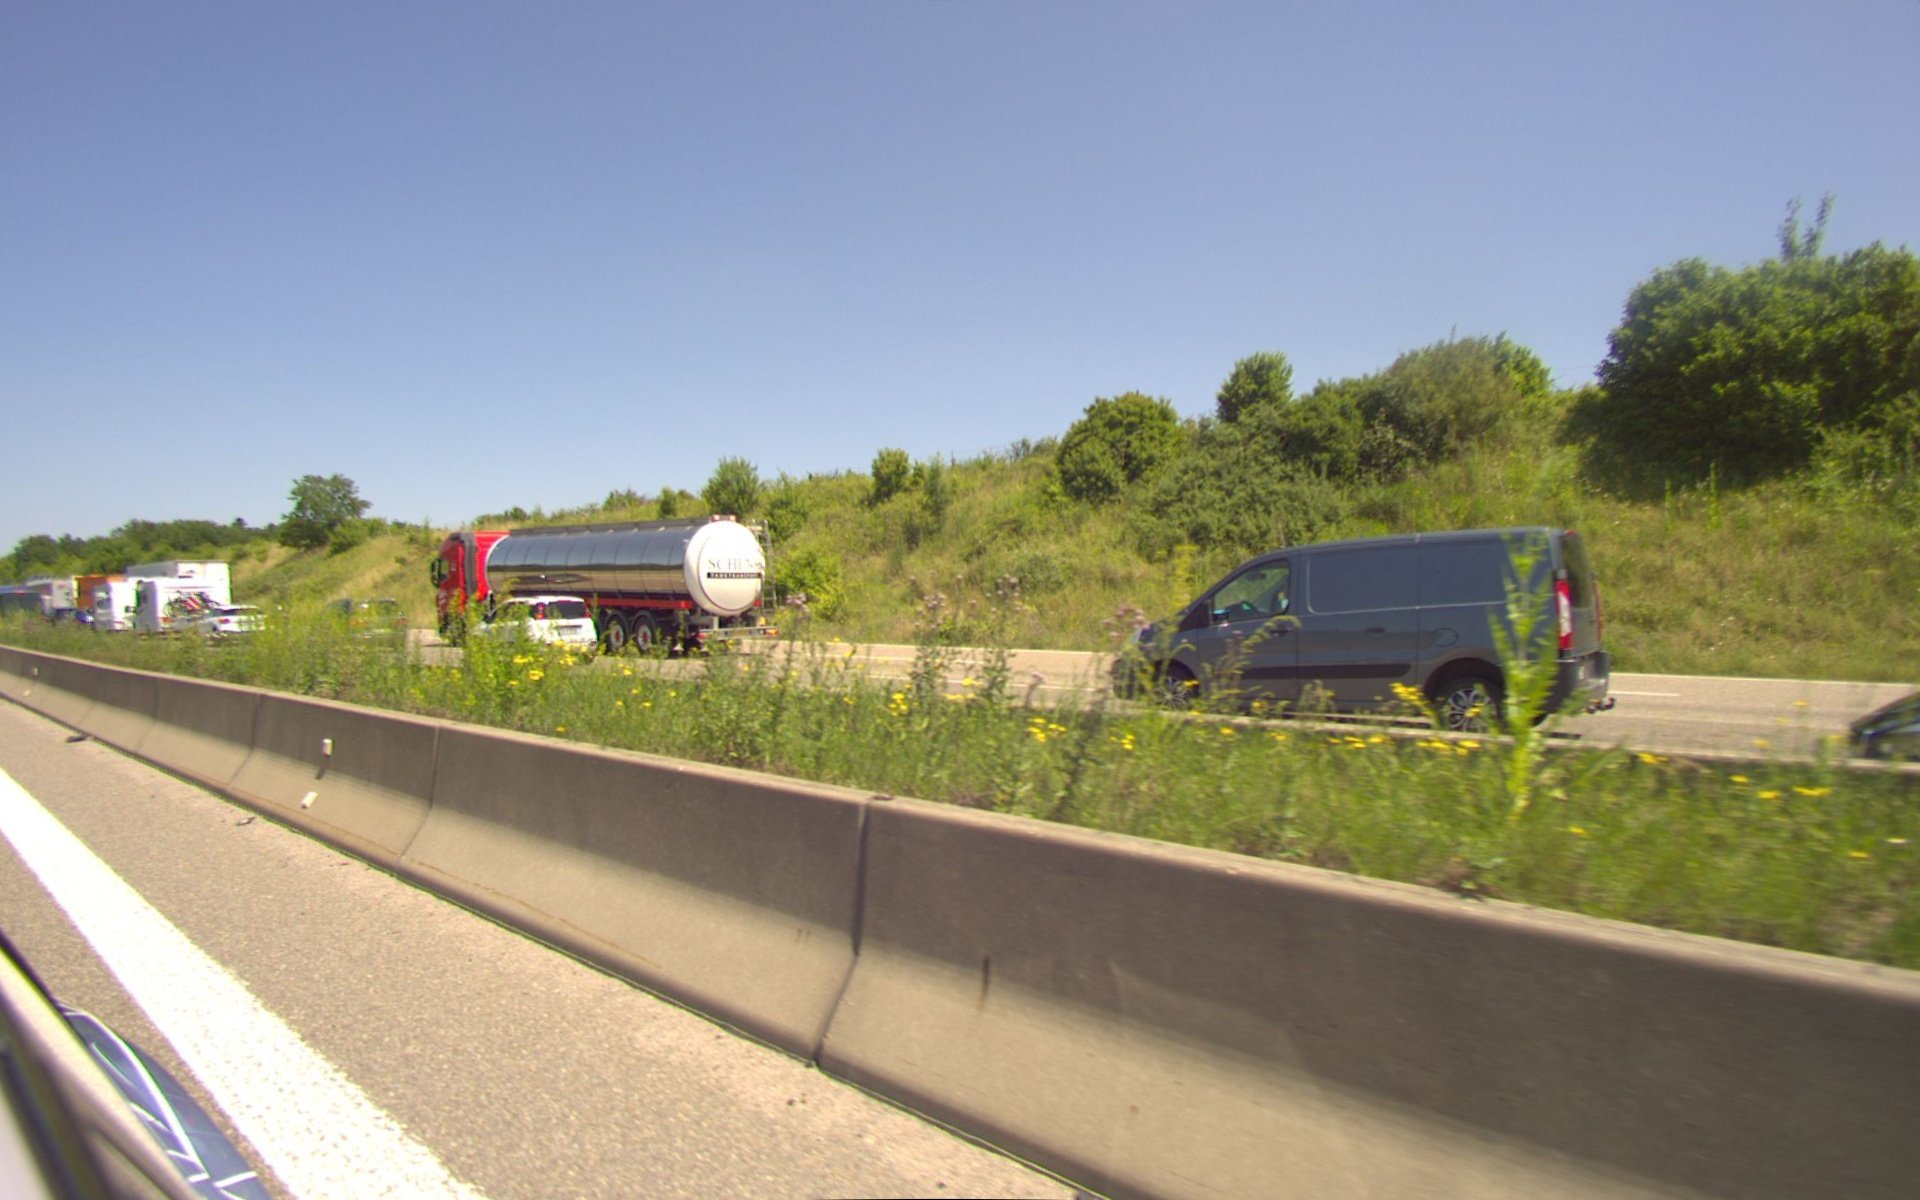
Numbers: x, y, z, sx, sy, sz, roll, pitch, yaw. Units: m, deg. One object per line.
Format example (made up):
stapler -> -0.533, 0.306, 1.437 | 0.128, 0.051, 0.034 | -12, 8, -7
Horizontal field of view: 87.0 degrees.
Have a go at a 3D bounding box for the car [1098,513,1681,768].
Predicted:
car -> 4.095, 0.329, 10.288 | 5.092, 1.973, 2.002 | -1, 0, 41

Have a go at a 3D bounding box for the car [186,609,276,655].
car -> -27.765, 1.180, 38.483 | 4.356, 1.639, 1.862 | -1, 0, 41

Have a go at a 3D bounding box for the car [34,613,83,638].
car -> -59.610, 1.663, 66.908 | 4.880, 1.600, 1.800 | -1, 0, 41

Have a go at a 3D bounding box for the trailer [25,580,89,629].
trailer -> -81.316, 0.411, 91.015 | 12.245, 4.064, 2.752 | -1, 1, 41

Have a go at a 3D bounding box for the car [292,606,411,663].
car -> -18.619, 0.995, 30.865 | 4.783, 1.595, 1.736 | -1, 0, 41

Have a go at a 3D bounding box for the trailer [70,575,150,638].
trailer -> -63.232, 0.460, 75.166 | 11.993, 4.342, 2.585 | -1, 1, 41

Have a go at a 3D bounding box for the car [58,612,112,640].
car -> -53.246, 1.564, 61.524 | 4.880, 1.600, 1.800 | -1, 0, 41

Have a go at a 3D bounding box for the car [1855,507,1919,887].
car -> 6.280, 0.380, 3.407 | 4.852, 1.595, 1.736 | -1, 0, 41

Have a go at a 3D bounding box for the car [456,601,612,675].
car -> -10.017, 0.836, 23.651 | 4.187, 1.561, 1.736 | -1, -1, 41

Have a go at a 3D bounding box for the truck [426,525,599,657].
truck -> -14.496, -0.266, 32.602 | 6.029, 3.852, 2.754 | -1, 1, 41

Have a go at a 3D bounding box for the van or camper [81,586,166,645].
van or camper -> -45.113, 0.799, 54.471 | 7.827, 2.959, 2.517 | -1, 0, 43

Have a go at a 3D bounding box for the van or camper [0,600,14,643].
van or camper -> -59.742, 1.317, 61.867 | 6.055, 2.525, 2.170 | -1, 0, 41

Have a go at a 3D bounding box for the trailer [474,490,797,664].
trailer -> -9.545, -0.436, 28.230 | 12.270, 3.980, 2.651 | -1, 0, 42

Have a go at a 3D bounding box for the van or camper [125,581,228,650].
van or camper -> -36.530, 0.682, 47.061 | 8.130, 2.959, 2.517 | -1, 0, 43

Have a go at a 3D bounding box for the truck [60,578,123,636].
truck -> -68.260, 0.537, 79.502 | 7.288, 4.358, 2.563 | -1, 1, 40

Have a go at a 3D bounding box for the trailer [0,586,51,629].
trailer -> -97.429, 0.749, 105.458 | 10.788, 4.272, 2.760 | -1, 1, 41

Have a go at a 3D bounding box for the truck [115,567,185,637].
truck -> -52.773, 0.136, 65.911 | 5.662, 4.358, 2.495 | -1, 1, 41

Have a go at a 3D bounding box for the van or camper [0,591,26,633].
van or camper -> -81.078, 1.010, 85.508 | 7.675, 3.415, 2.289 | -1, 0, 41

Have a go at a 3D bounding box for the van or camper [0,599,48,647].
van or camper -> -51.686, 1.207, 55.009 | 7.279, 2.453, 2.273 | -1, 0, 41

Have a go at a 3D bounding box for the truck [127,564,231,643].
truck -> -47.214, 0.232, 60.970 | 12.416, 4.358, 2.494 | -1, 1, 41
